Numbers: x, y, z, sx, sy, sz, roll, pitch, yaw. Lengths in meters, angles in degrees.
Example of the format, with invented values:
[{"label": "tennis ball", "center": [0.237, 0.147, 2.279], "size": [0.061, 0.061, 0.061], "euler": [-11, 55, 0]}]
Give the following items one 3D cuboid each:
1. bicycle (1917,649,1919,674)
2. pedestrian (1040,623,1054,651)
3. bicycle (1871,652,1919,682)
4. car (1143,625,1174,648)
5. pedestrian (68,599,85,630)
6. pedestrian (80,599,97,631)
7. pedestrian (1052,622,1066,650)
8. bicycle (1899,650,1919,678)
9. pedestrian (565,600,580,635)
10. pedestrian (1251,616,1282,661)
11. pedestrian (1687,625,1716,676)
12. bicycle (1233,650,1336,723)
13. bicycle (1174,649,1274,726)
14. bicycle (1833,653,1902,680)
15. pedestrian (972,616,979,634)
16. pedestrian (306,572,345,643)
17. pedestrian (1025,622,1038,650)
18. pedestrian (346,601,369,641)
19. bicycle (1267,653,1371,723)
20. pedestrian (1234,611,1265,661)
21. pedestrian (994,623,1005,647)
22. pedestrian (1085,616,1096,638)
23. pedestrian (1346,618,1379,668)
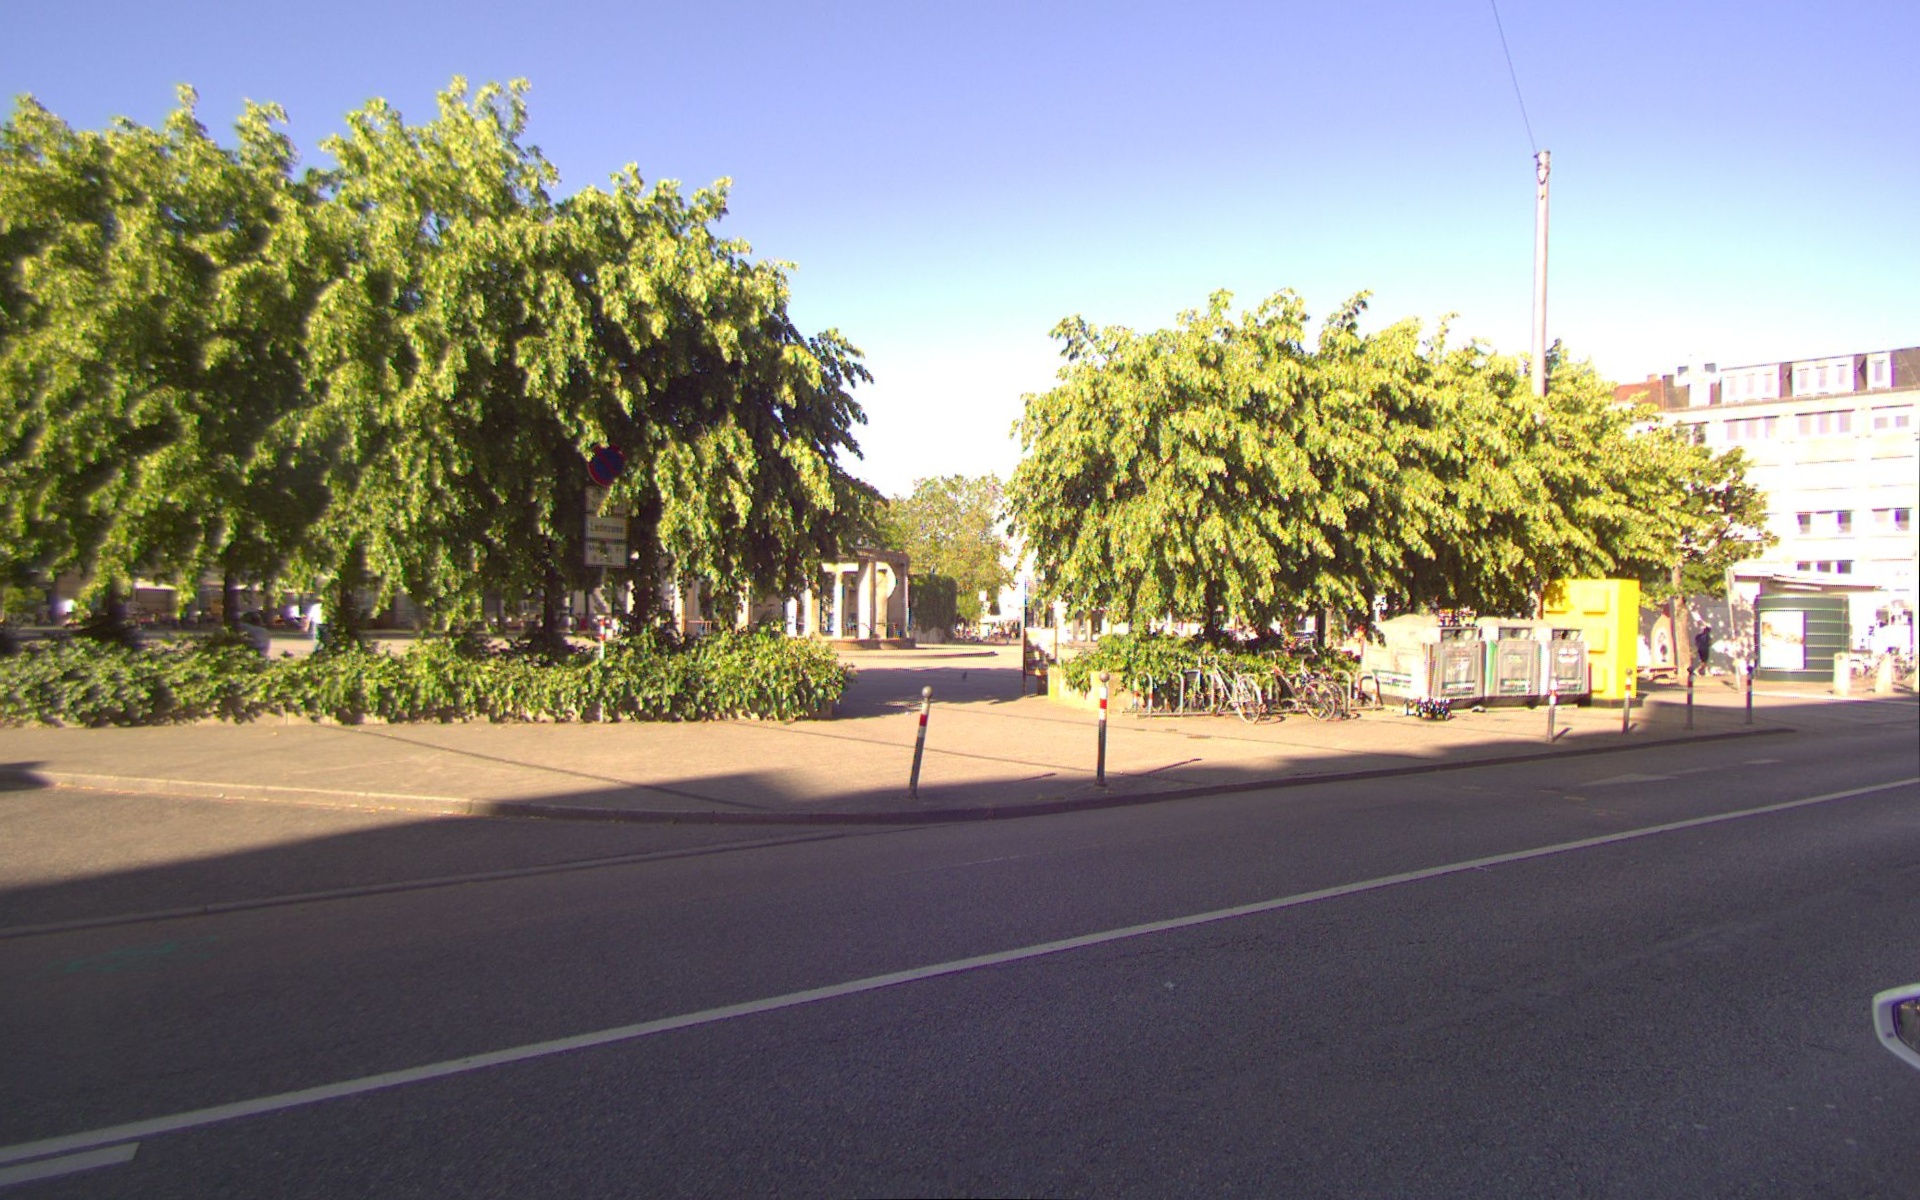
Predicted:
[{"label": "bicycle", "center": [37.043, 2.357, 37.456], "size": [0.599, 0.946, 1.854], "euler": [2, 0, -30]}, {"label": "pedestrian", "center": [6.518, 2.757, 75.685], "size": [0.860, 2.040, 0.902], "euler": [2, 0, -5]}, {"label": "bicycle", "center": [33.180, 2.355, 35.120], "size": [0.599, 0.946, 1.855], "euler": [2, 0, -30]}, {"label": "car", "center": [13.209, 2.402, 66.953], "size": [1.658, 1.405, 3.575], "euler": [1, -1, 5]}, {"label": "pedestrian", "center": [-49.115, 0.807, 55.808], "size": [0.600, 1.744, 0.643], "euler": [2, 0, 45]}, {"label": "pedestrian", "center": [-48.280, 0.828, 55.651], "size": [0.600, 1.744, 0.643], "euler": [2, 0, 45]}, {"label": "pedestrian", "center": [7.486, 2.718, 75.789], "size": [0.860, 2.040, 0.902], "euler": [2, 0, -5]}, {"label": "bicycle", "center": [35.037, 2.335, 36.032], "size": [0.599, 0.946, 1.854], "euler": [2, 0, -30]}, {"label": "pedestrian", "center": [-22.433, 1.016, 58.154], "size": [0.669, 1.974, 0.634], "euler": [2, 0, -33]}, {"label": "pedestrian", "center": [14.222, 1.760, 46.618], "size": [1.014, 2.040, 1.159], "euler": [1, 0, -5]}, {"label": "pedestrian", "center": [25.773, 1.745, 34.925], "size": [0.700, 1.739, 0.474], "euler": [2, 0, -22]}, {"label": "bicycle", "center": [5.222, 1.372, 16.295], "size": [0.508, 1.016, 1.923], "euler": [2, 0, -20]}, {"label": "bicycle", "center": [4.071, 1.331, 15.656], "size": [0.508, 1.029, 1.930], "euler": [2, 0, -19]}, {"label": "bicycle", "center": [30.822, 2.249, 34.128], "size": [0.600, 0.802, 1.634], "euler": [2, 0, -33]}, {"label": "pedestrian", "center": [1.769, 2.872, 113.853], "size": [0.629, 1.974, 0.675], "euler": [2, 0, -14]}, {"label": "pedestrian", "center": [-15.763, 0.183, 24.954], "size": [0.599, 1.744, 0.644], "euler": [2, 0, 41]}, {"label": "pedestrian", "center": [5.470, 2.732, 76.761], "size": [0.860, 2.040, 0.902], "euler": [2, 0, -5]}, {"label": "pedestrian", "center": [-26.705, 0.916, 44.539], "size": [0.599, 1.744, 0.644], "euler": [2, 0, 37]}, {"label": "bicycle", "center": [5.827, 1.407, 16.418], "size": [0.508, 0.968, 1.898], "euler": [2, 0, -20]}, {"label": "pedestrian", "center": [12.018, 1.498, 41.735], "size": [0.875, 2.040, 0.896], "euler": [1, 0, -17]}, {"label": "pedestrian", "center": [3.568, 3.165, 90.929], "size": [0.860, 2.040, 0.902], "euler": [2, 0, -5]}, {"label": "pedestrian", "center": [12.972, 2.667, 99.528], "size": [0.860, 2.199, 0.902], "euler": [2, 0, -5]}, {"label": "pedestrian", "center": [13.872, 1.476, 34.639], "size": [0.774, 1.720, 0.763], "euler": [1, 0, -6]}]
